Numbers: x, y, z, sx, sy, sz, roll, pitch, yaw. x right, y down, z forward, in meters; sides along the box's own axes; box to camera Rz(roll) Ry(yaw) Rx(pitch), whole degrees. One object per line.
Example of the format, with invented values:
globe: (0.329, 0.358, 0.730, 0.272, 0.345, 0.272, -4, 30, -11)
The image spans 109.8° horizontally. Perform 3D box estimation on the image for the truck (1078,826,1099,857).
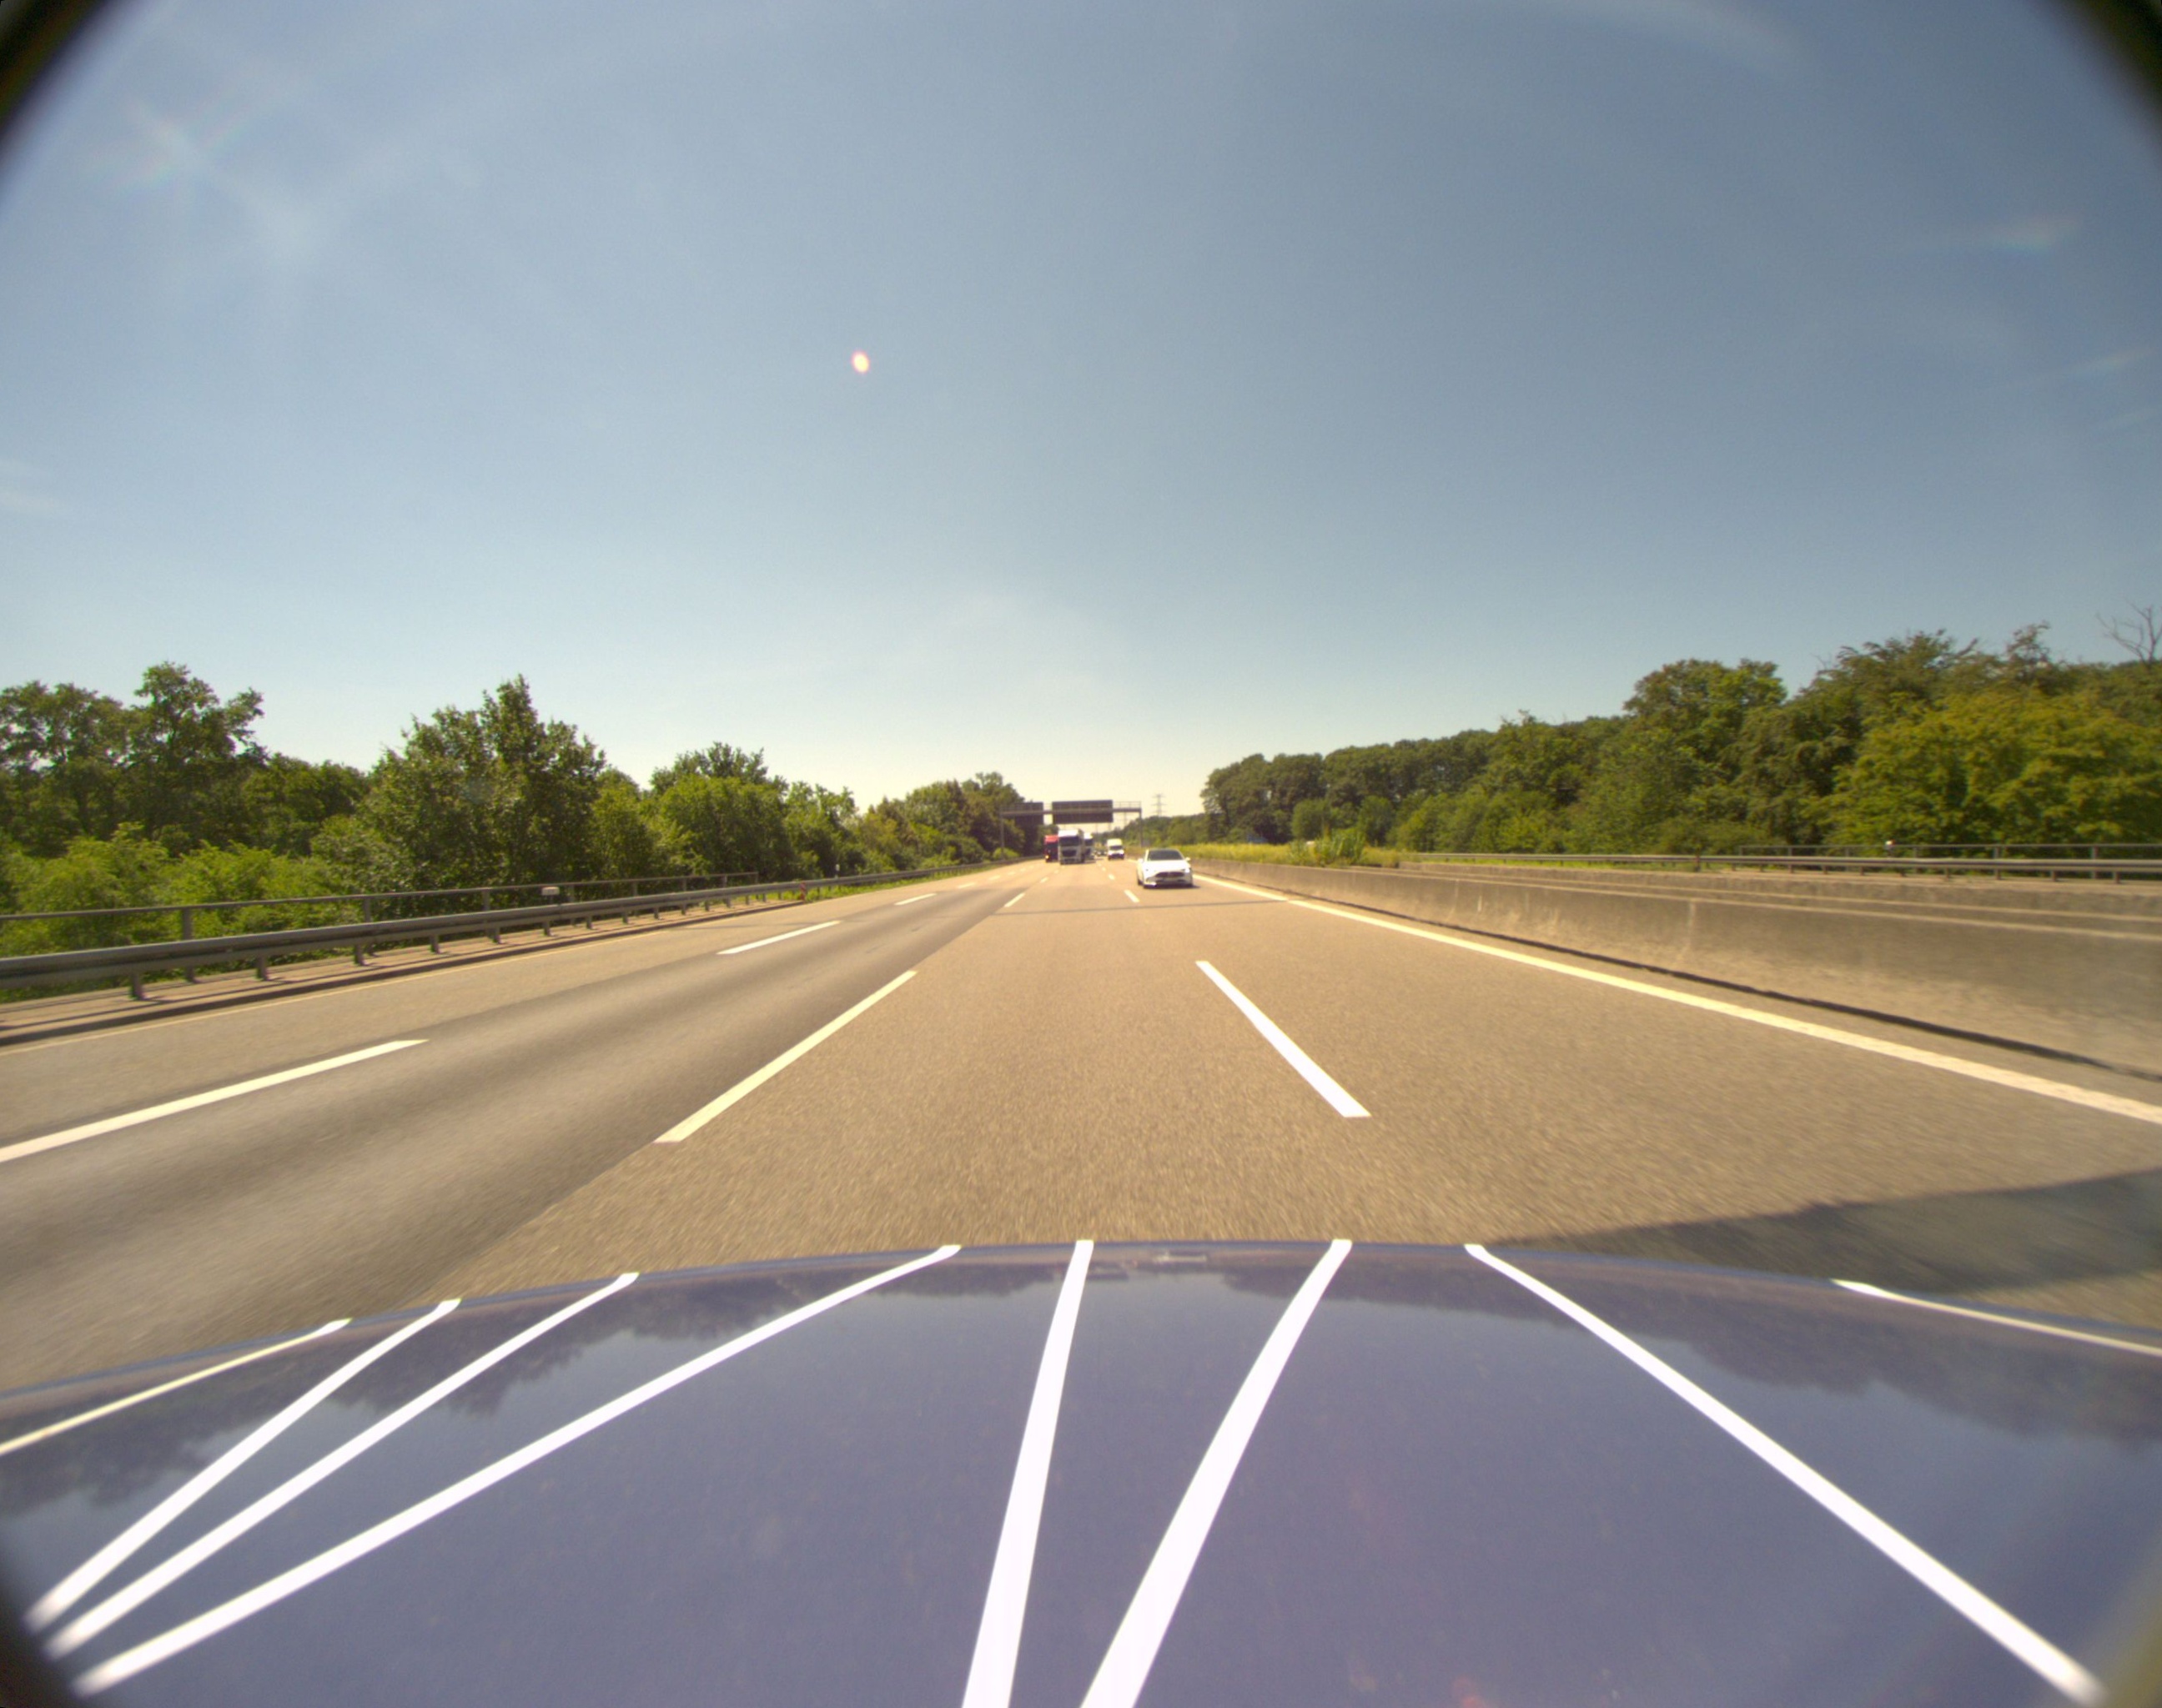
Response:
truck: (1.199, -1.824, 112.784, 2.700, 4.232, 8.243, -4, 1, 2)

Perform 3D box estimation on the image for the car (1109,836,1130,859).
car: (5.058, -0.870, 100.768, 2.521, 2.857, 6.399, -4, 1, 2)

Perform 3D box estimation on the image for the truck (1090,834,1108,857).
truck: (3.625, -1.696, 154.781, 3.333, 4.351, 8.501, -3, 1, 2)

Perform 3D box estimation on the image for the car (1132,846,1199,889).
car: (3.159, 0.464, 29.500, 1.771, 1.440, 5.106, -3, 1, -2)

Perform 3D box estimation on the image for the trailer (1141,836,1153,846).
trailer: (22.578, -4.474, 260.191, 2.976, 3.168, 11.122, -4, 1, 0)

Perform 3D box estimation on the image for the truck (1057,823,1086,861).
truck: (-1.033, -1.433, 90.329, 2.990, 4.187, 7.592, -3, 1, 2)

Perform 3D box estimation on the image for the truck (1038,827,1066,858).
truck: (-4.336, -1.685, 115.508, 3.333, 4.351, 8.501, -3, 1, 2)
